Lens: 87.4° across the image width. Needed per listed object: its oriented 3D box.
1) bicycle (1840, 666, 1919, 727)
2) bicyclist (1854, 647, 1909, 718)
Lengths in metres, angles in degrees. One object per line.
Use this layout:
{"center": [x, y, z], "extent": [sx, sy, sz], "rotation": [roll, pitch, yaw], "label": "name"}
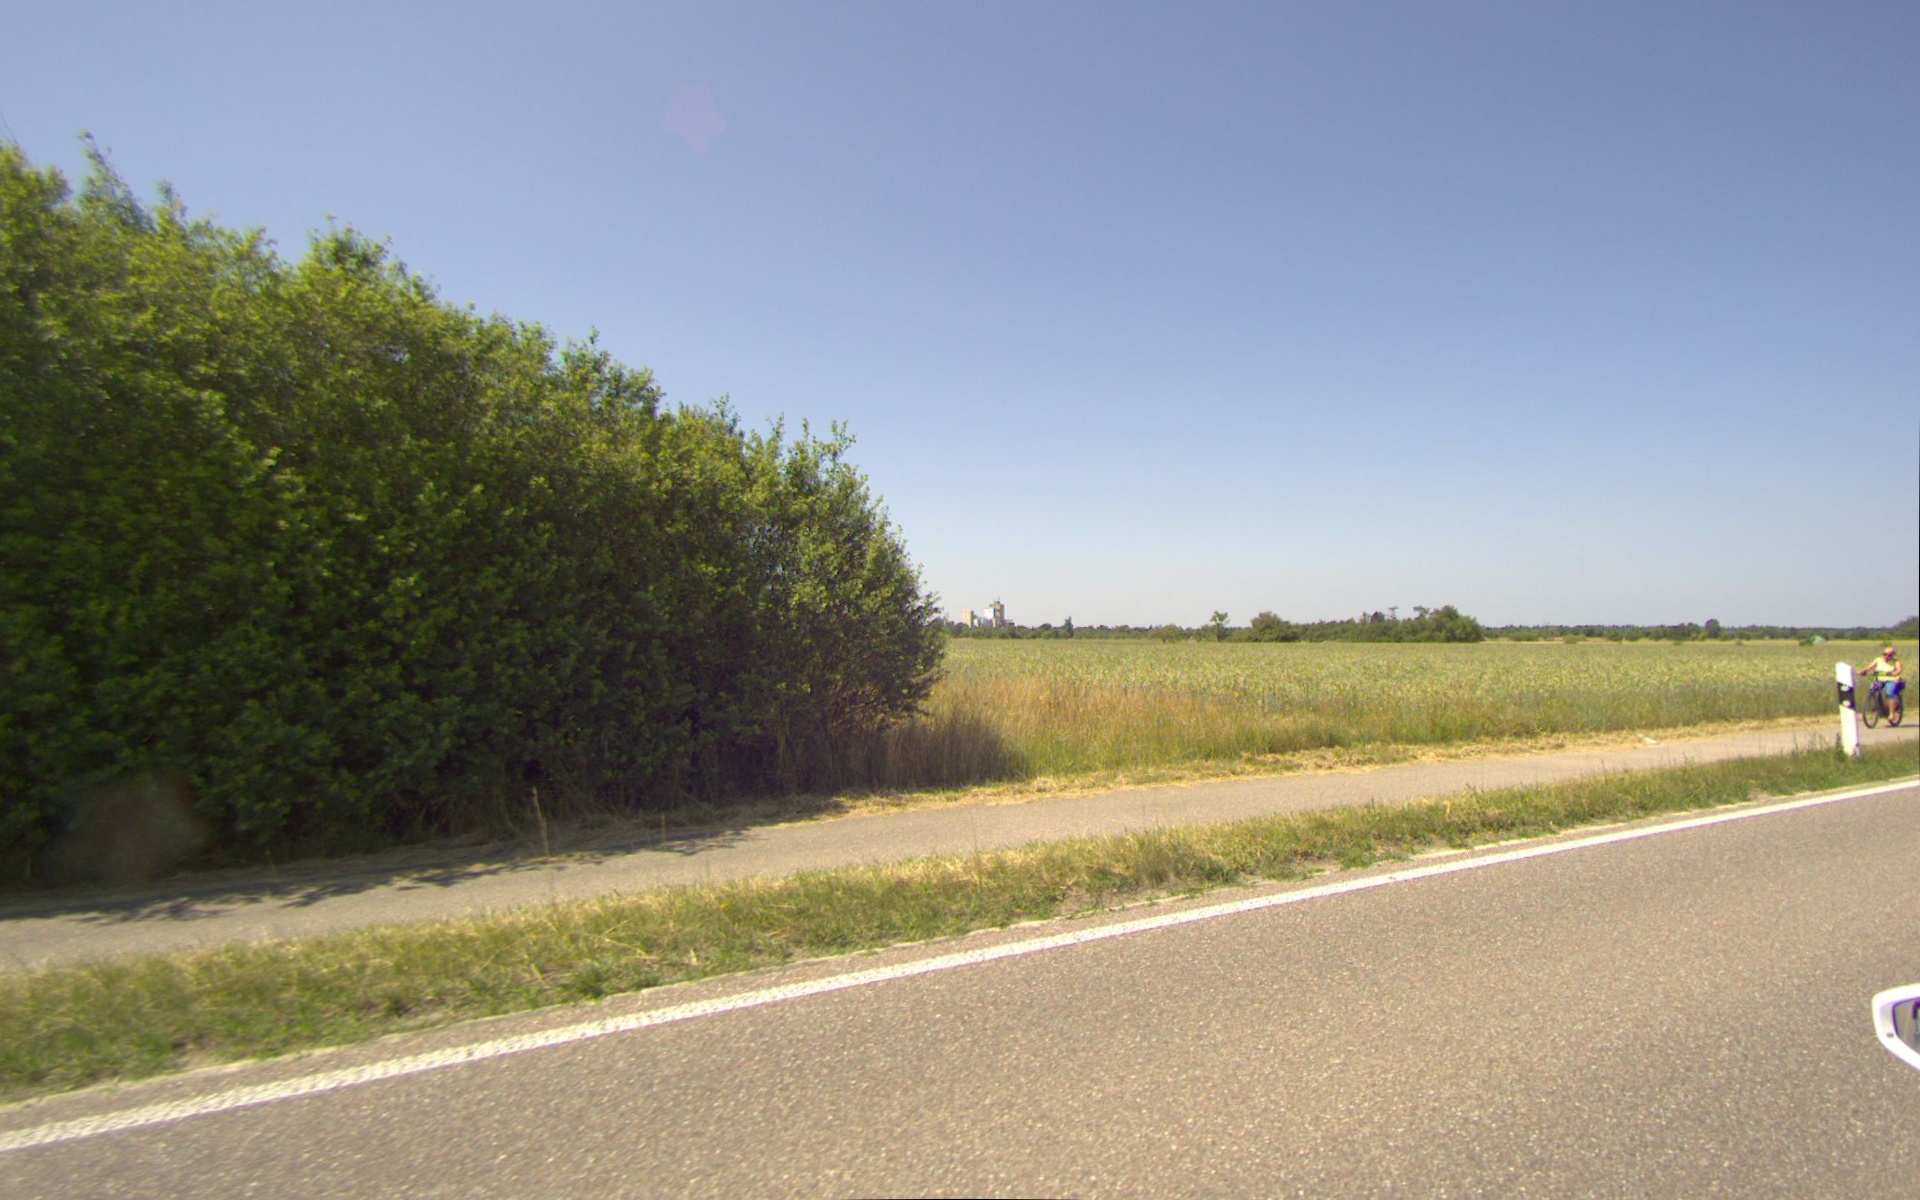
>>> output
{"center": [19.769, 2.044, 21.566], "extent": [1.939, 1.192, 0.691], "rotation": [1, -2, -29], "label": "bicycle"}
{"center": [19.795, 1.756, 21.583], "extent": [0.813, 1.457, 0.661], "rotation": [1, -1, -29], "label": "bicyclist"}
